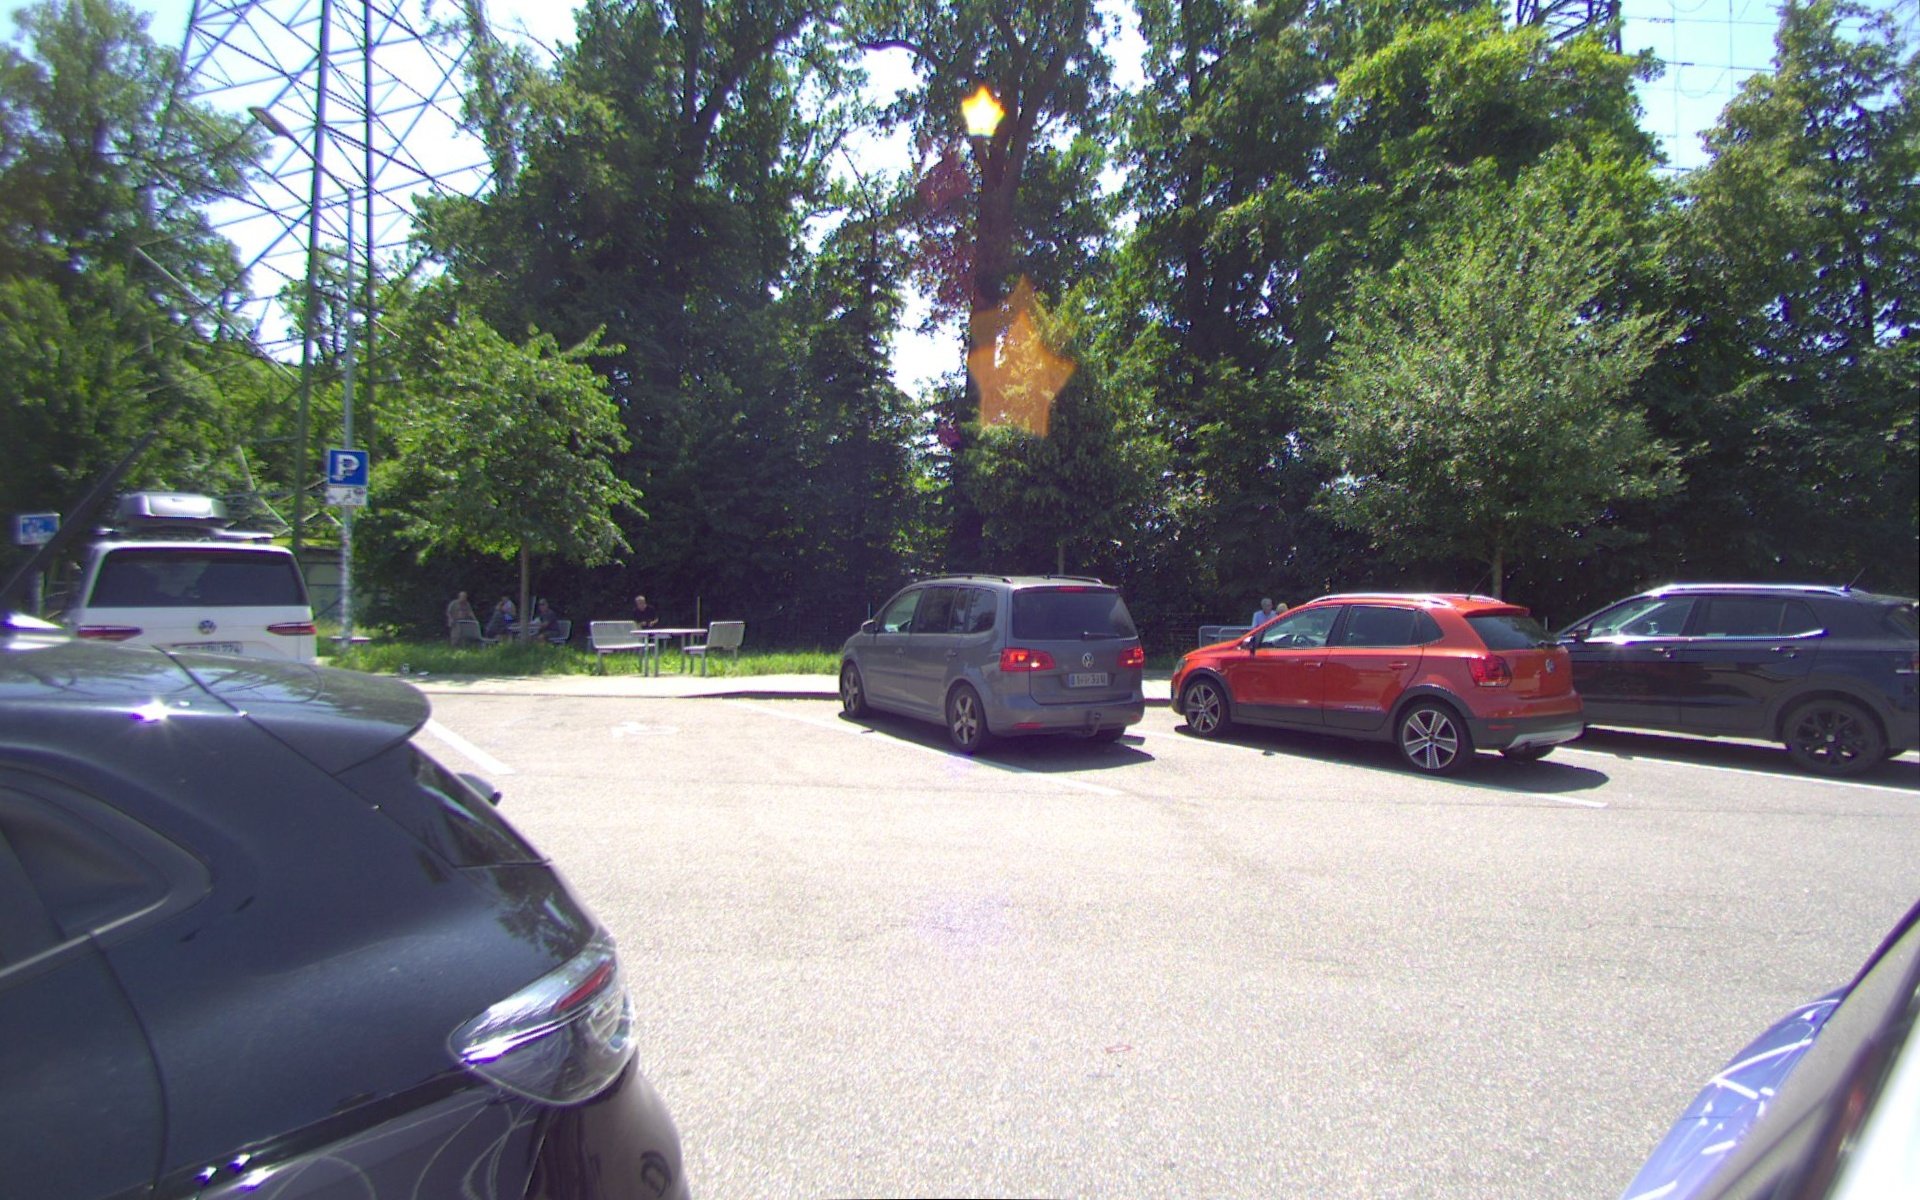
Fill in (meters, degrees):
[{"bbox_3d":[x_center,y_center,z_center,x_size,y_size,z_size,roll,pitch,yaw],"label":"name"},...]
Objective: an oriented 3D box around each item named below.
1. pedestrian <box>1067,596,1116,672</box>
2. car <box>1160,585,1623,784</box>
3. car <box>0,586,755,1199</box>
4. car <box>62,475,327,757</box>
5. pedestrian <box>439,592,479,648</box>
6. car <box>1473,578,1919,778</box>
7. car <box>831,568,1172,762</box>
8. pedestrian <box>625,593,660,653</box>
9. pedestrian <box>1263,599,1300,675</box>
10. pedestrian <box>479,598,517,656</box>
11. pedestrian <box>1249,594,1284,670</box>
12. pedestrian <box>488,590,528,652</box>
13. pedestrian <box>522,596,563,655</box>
[{"bbox_3d":[2.178,0.570,16.827,0.660,1.235,0.682,1,-2,-5],"label":"pedestrian"},{"bbox_3d":[3.851,0.610,9.641,1.604,1.476,3.810,0,1,-34],"label":"car"},{"bbox_3d":[-2.137,0.720,0.578,1.615,1.503,3.706,0,-1,44],"label":"car"},{"bbox_3d":[-8.075,0.094,10.617,1.885,2.353,4.089,0,1,-40],"label":"car"},{"bbox_3d":[-12.585,0.500,25.429,0.604,1.391,0.699,0,-1,36],"label":"pedestrian"},{"bbox_3d":[7.230,0.581,9.664,1.727,1.566,3.806,0,1,-39],"label":"car"},{"bbox_3d":[0.215,0.506,10.544,1.717,1.611,3.961,0,1,-30],"label":"car"},{"bbox_3d":[-6.661,0.473,21.241,0.550,1.229,0.599,1,-1,-1],"label":"pedestrian"},{"bbox_3d":[5.680,0.647,17.886,0.495,1.316,0.491,1,-1,0],"label":"pedestrian"},{"bbox_3d":[-10.441,0.607,22.871,0.630,1.287,0.579,1,-1,-39],"label":"pedestrian"},{"bbox_3d":[5.761,0.597,19.010,0.495,1.393,0.491,1,-1,0],"label":"pedestrian"},{"bbox_3d":[-10.954,0.500,24.505,0.722,1.478,0.669,1,-1,-39],"label":"pedestrian"},{"bbox_3d":[-9.722,0.591,23.568,0.722,1.343,0.669,1,-1,-39],"label":"pedestrian"}]
